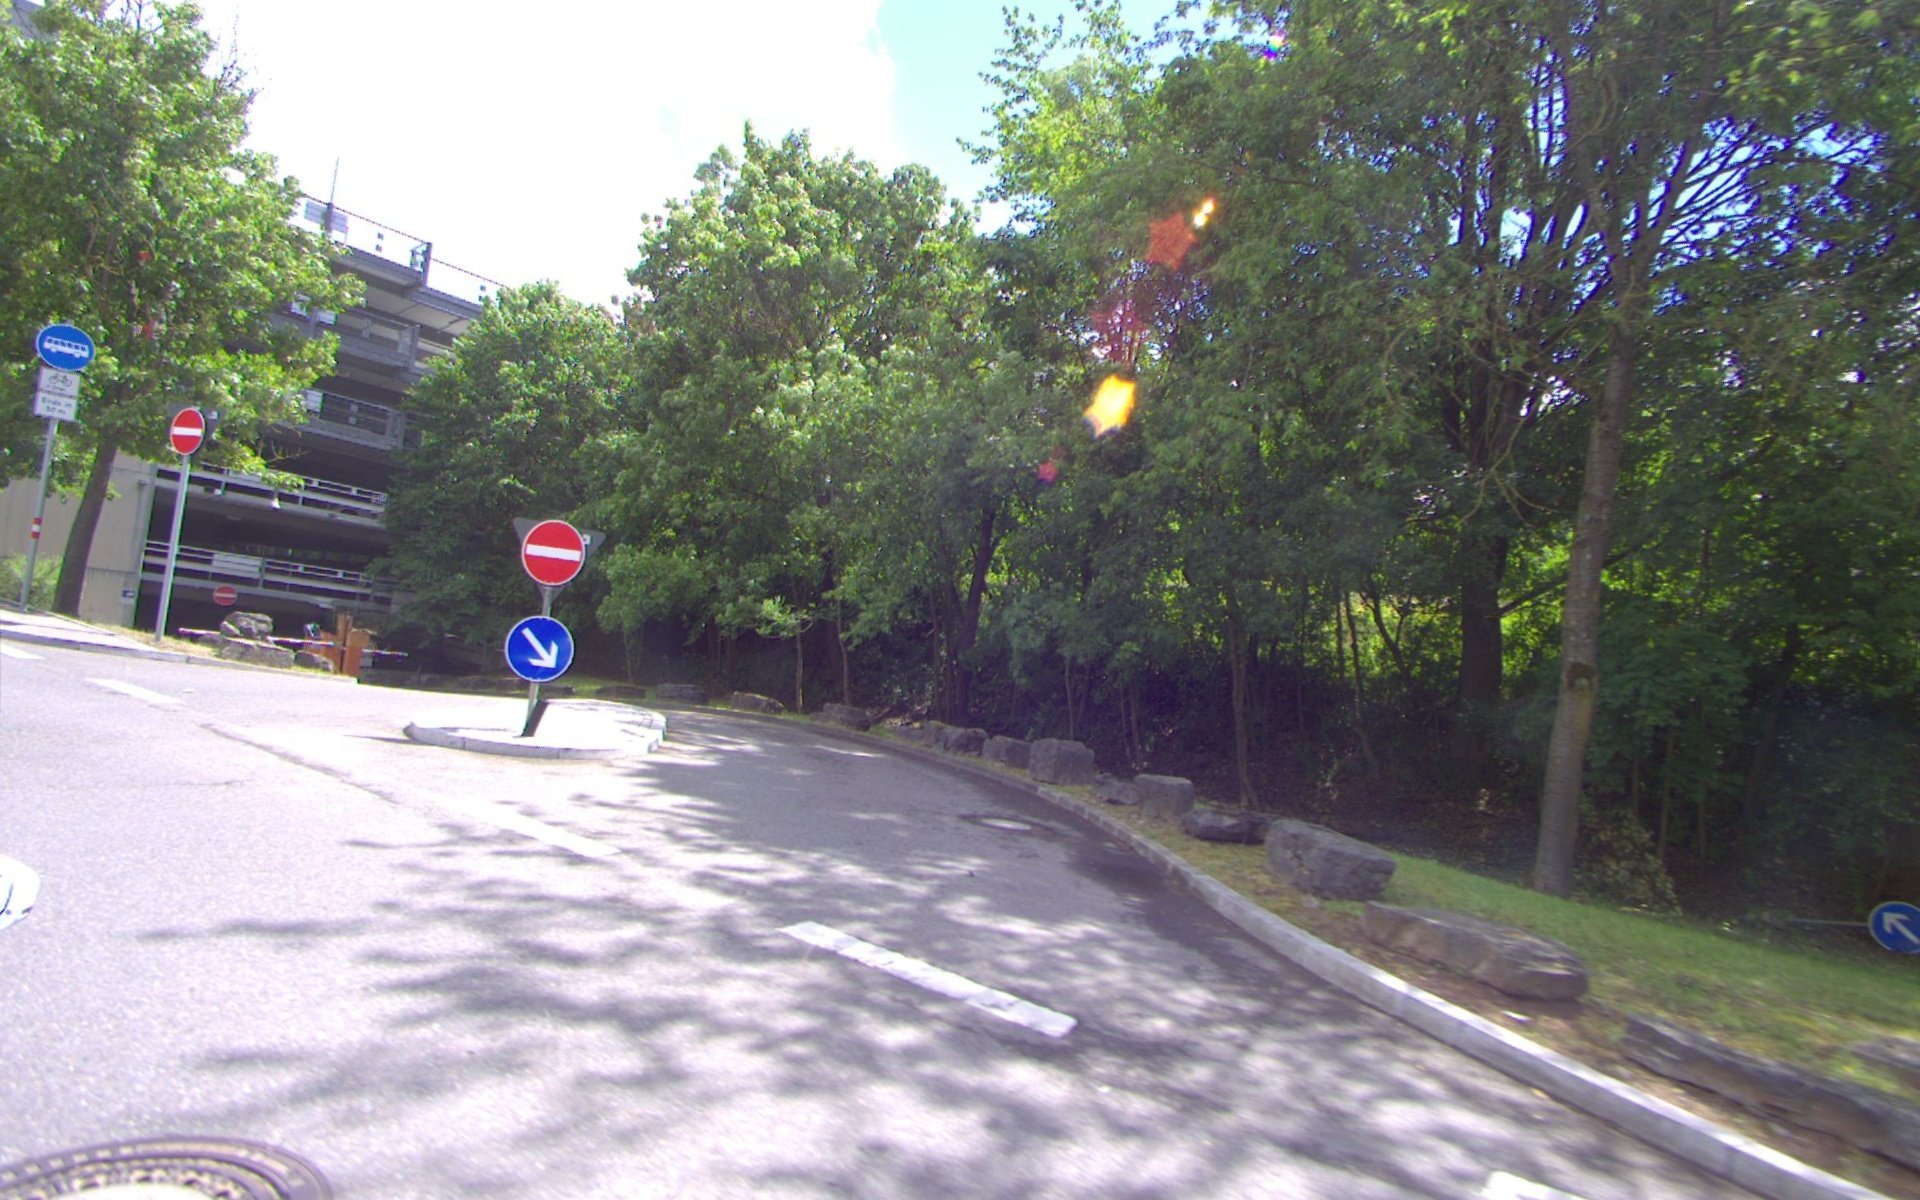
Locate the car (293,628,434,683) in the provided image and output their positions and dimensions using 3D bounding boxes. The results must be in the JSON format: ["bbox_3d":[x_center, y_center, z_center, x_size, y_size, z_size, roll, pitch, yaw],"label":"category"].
[{"bbox_3d":[-22.943,2.160,38.779,4.302,1.434,1.977,11,-3,-41],"label":"car"}]

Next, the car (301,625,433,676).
[{"bbox_3d":[-24.414,2.085,41.511,4.302,1.434,1.977,11,-3,-41],"label":"car"}]

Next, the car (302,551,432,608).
[{"bbox_3d":[-24.876,-0.855,42.270,4.302,1.648,1.977,11,-3,-41],"label":"car"}]

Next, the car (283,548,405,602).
[{"bbox_3d":[-27.673,-1.107,45.274,4.302,1.648,1.977,11,-3,-41],"label":"car"}]

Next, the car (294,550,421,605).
[{"bbox_3d":[-26.205,-0.970,43.820,4.302,1.648,1.977,11,-3,-41],"label":"car"}]

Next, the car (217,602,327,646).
[{"bbox_3d":[-34.785,1.222,50.924,4.302,1.505,1.977,11,-3,-41],"label":"car"}]

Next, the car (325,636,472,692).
[{"bbox_3d":[-20.610,2.370,37.043,4.302,1.434,1.977,11,-3,-41],"label":"car"}]

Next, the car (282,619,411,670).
[{"bbox_3d":[-26.064,1.902,42.798,4.302,1.505,1.977,11,-3,-41],"label":"car"}]

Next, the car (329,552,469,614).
[{"bbox_3d":[-21.679,-0.643,38.957,4.302,1.648,1.977,11,-3,-41],"label":"car"}]

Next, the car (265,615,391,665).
[{"bbox_3d":[-27.712,1.790,44.188,4.302,1.505,1.977,11,-3,-41],"label":"car"}]

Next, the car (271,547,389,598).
[{"bbox_3d":[-29.482,-1.271,47.118,4.302,1.648,1.977,11,-3,-41],"label":"car"}]

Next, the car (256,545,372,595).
[{"bbox_3d":[-31.130,-1.427,48.537,4.302,1.648,1.977,11,-3,-41],"label":"car"}]
